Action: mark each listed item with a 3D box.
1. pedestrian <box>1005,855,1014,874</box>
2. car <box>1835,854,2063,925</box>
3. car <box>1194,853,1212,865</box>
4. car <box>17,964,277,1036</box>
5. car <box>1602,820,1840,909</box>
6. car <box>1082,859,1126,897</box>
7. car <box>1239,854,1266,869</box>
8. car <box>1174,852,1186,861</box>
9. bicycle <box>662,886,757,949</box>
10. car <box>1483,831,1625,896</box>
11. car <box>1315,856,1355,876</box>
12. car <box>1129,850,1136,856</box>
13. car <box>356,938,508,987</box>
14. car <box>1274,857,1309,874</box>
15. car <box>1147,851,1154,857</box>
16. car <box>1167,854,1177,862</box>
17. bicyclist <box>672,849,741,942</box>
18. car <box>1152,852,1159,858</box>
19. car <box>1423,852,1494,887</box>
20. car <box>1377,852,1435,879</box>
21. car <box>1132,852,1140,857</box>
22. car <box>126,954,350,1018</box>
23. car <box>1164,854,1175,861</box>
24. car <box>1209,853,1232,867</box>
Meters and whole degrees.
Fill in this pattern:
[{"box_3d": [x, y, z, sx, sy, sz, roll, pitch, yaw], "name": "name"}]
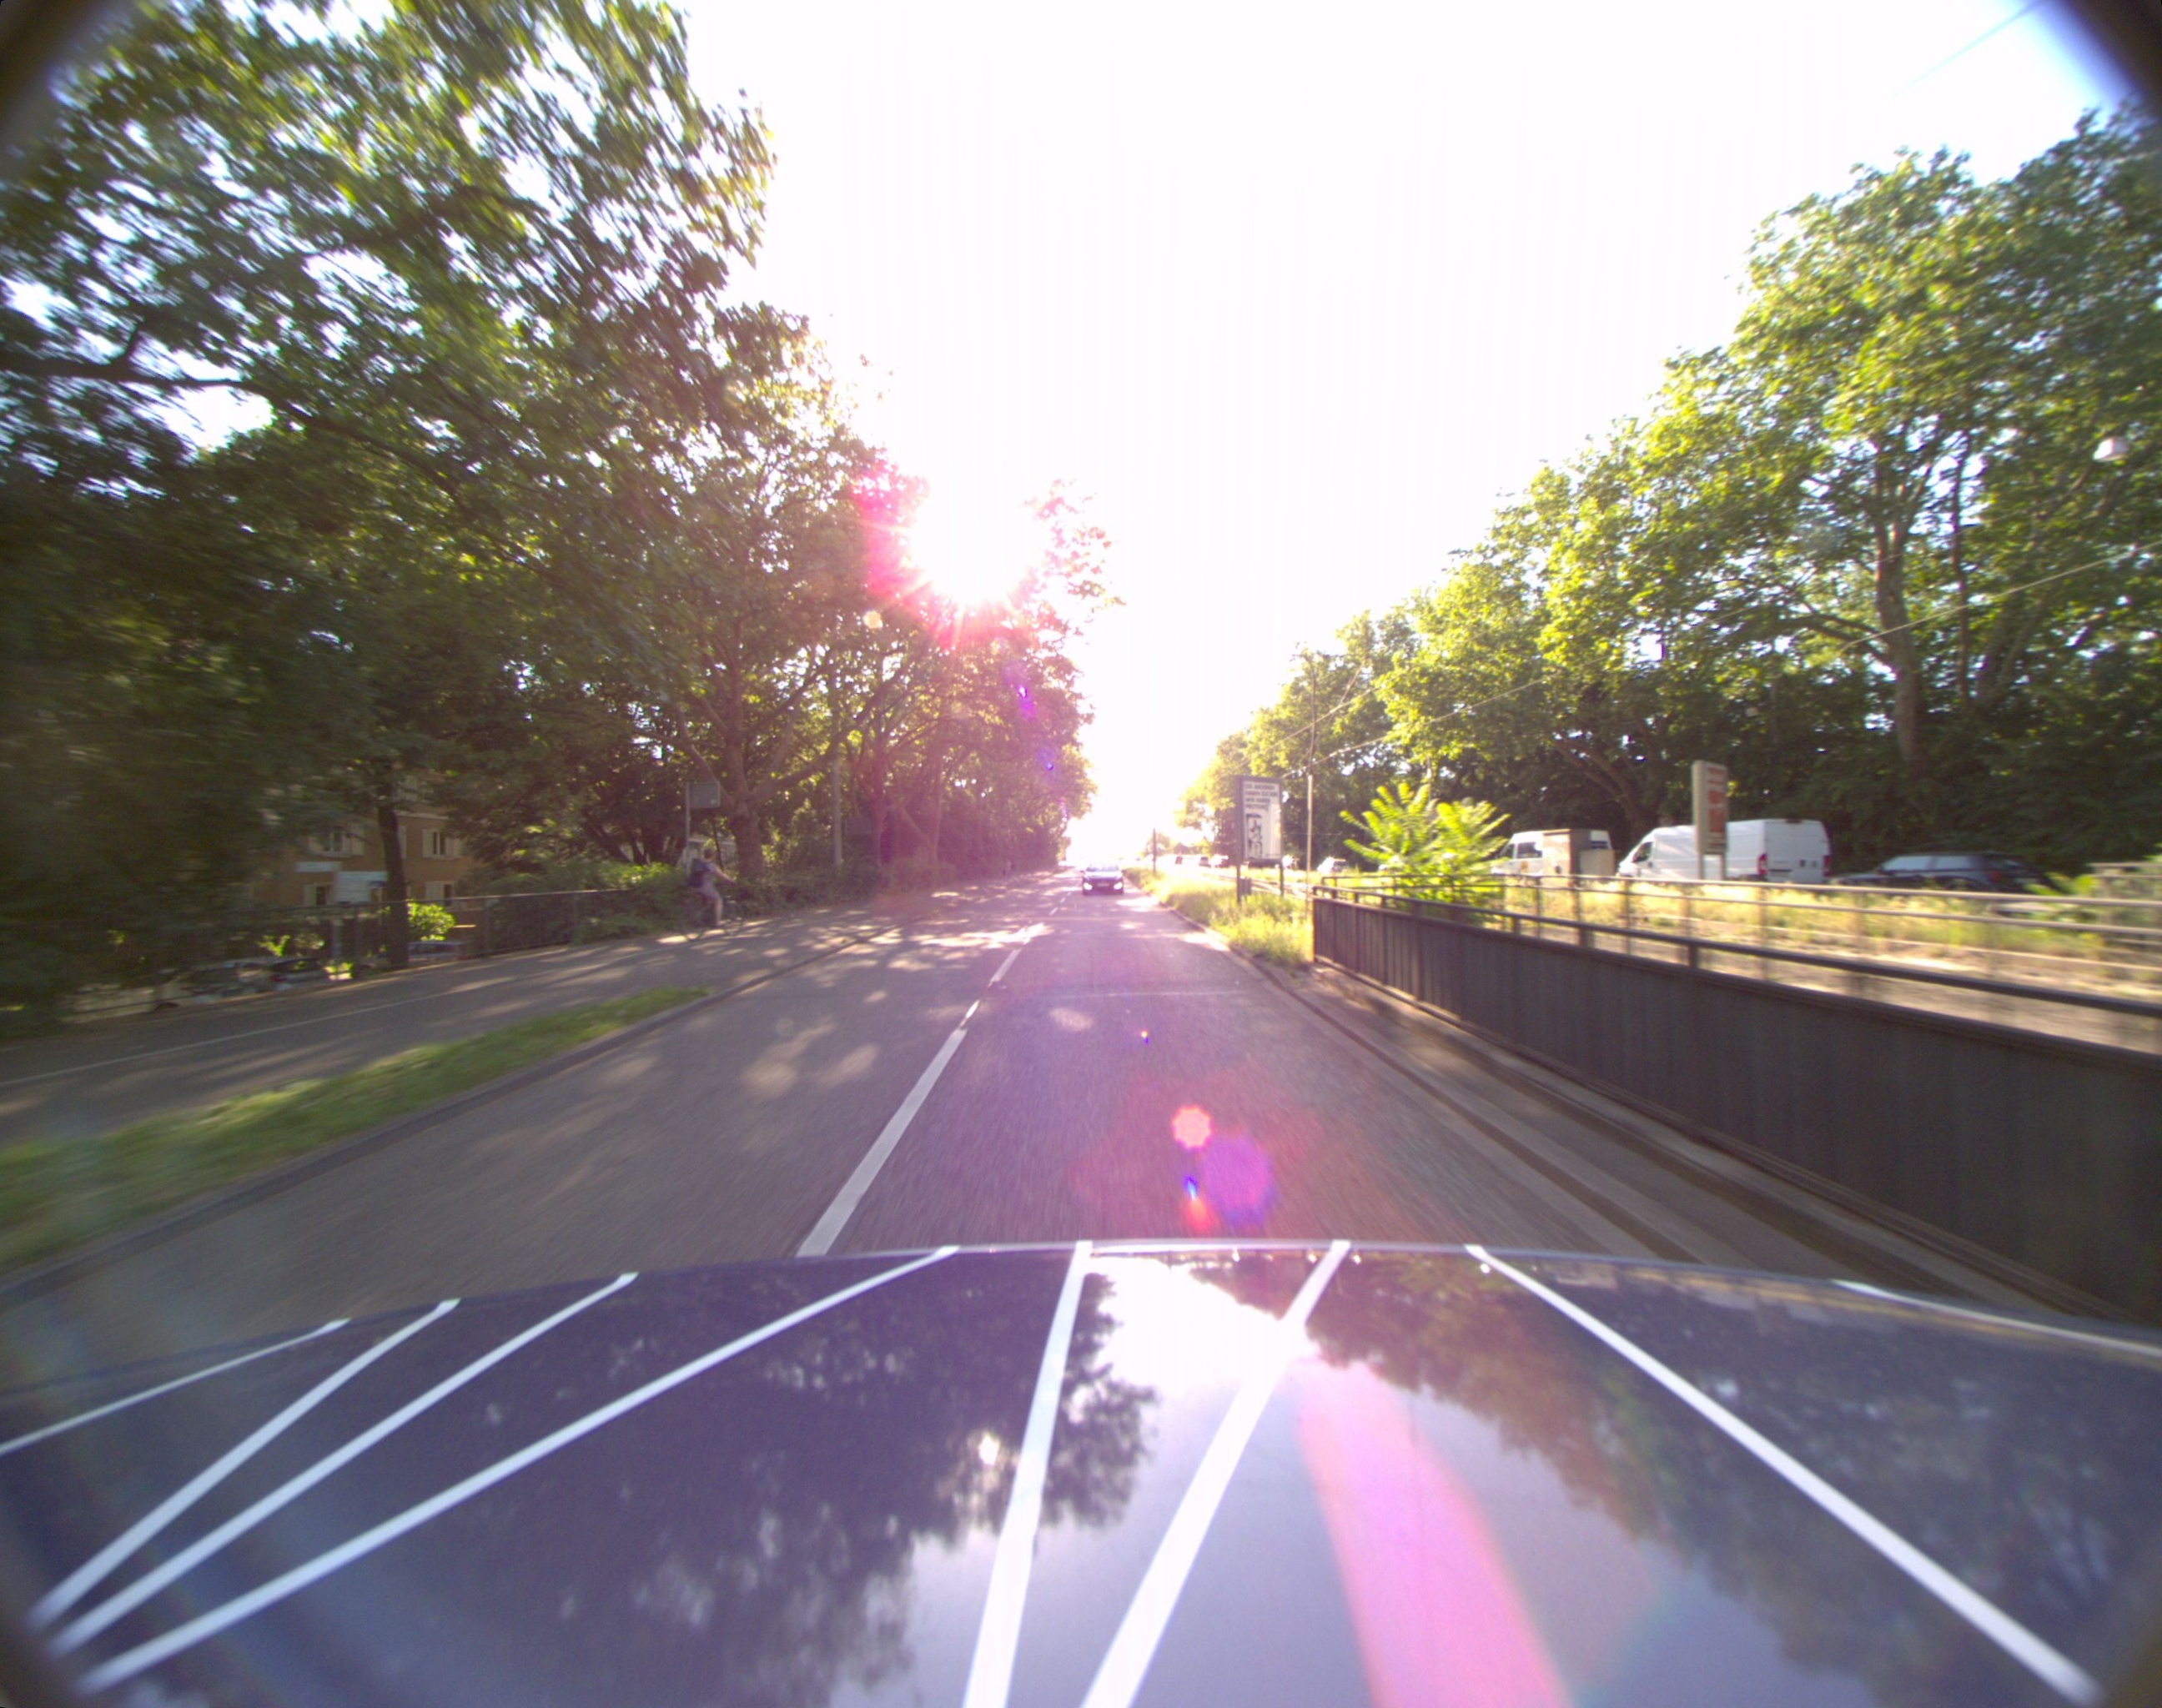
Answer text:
[{"box_3d": [-6.287, 0.914, 67.021, 0.649, 1.626, 0.928, 1, 1, 2], "name": "pedestrian"}, {"box_3d": [20.638, 0.783, 18.270, 1.656, 1.504, 3.265, 1, 0, -3], "name": "car"}, {"box_3d": [18.869, 0.756, 117.574, 1.832, 1.830, 4.393, 1, 0, -2], "name": "car"}, {"box_3d": [-24.122, 3.745, 19.805, 4.001, 1.506, 1.893, 1, 0, -10], "name": "car"}, {"box_3d": [20.351, 0.273, 24.731, 2.189, 2.506, 6.269, 1, 0, -3], "name": "car"}, {"box_3d": [0.985, 1.023, 33.903, 1.799, 1.501, 4.000, -2, 0, 0], "name": "car"}, {"box_3d": [18.647, 0.791, 82.964, 1.832, 1.496, 4.393, 1, 0, -2], "name": "car"}, {"box_3d": [18.938, 0.444, 145.764, 1.734, 1.730, 3.899, 1, 0, -2], "name": "car"}, {"box_3d": [-7.218, 1.211, 14.886, 0.700, 1.101, 1.931, -1, -1, 8], "name": "bicycle"}, {"box_3d": [20.022, 0.361, 32.616, 2.189, 2.506, 6.049, 1, 0, -2], "name": "car"}, {"box_3d": [19.558, 0.929, 58.697, 1.743, 1.428, 3.851, 1, 0, -2], "name": "car"}, {"box_3d": [15.856, -0.185, 235.391, 1.831, 1.841, 5.036, 1, 0, 0], "name": "car"}, {"box_3d": [-23.807, 3.977, 27.987, 3.998, 1.501, 1.800, 1, 0, -2], "name": "car"}, {"box_3d": [19.134, 0.996, 69.246, 1.832, 1.428, 4.323, 1, 0, -2], "name": "car"}, {"box_3d": [19.232, 0.055, 209.860, 1.658, 1.491, 3.925, 1, 0, 1], "name": "car"}, {"box_3d": [18.746, 0.799, 156.856, 1.658, 1.433, 3.785, 1, 0, -1], "name": "car"}, {"box_3d": [-7.247, 0.784, 14.745, 0.700, 1.718, 1.081, -1, 0, 8], "name": "bicyclist"}, {"box_3d": [19.489, 0.354, 198.852, 1.658, 1.491, 3.925, 1, 0, 0], "name": "car"}, {"box_3d": [20.058, 0.793, 40.522, 1.743, 1.718, 3.881, 1, 0, -2], "name": "car"}, {"box_3d": [19.813, 0.692, 46.456, 1.743, 1.546, 3.881, 1, 0, -2], "name": "car"}, {"box_3d": [15.256, 0.176, 211.768, 1.925, 1.407, 4.749, 1, 0, -1], "name": "car"}, {"box_3d": [-24.195, 3.763, 21.977, 4.001, 1.506, 1.893, 1, 0, -10], "name": "car"}, {"box_3d": [18.910, 0.765, 162.262, 1.658, 1.491, 3.924, 1, 0, -2], "name": "car"}, {"box_3d": [18.647, 0.793, 101.631, 1.832, 1.709, 4.392, 1, 0, -6], "name": "car"}]
